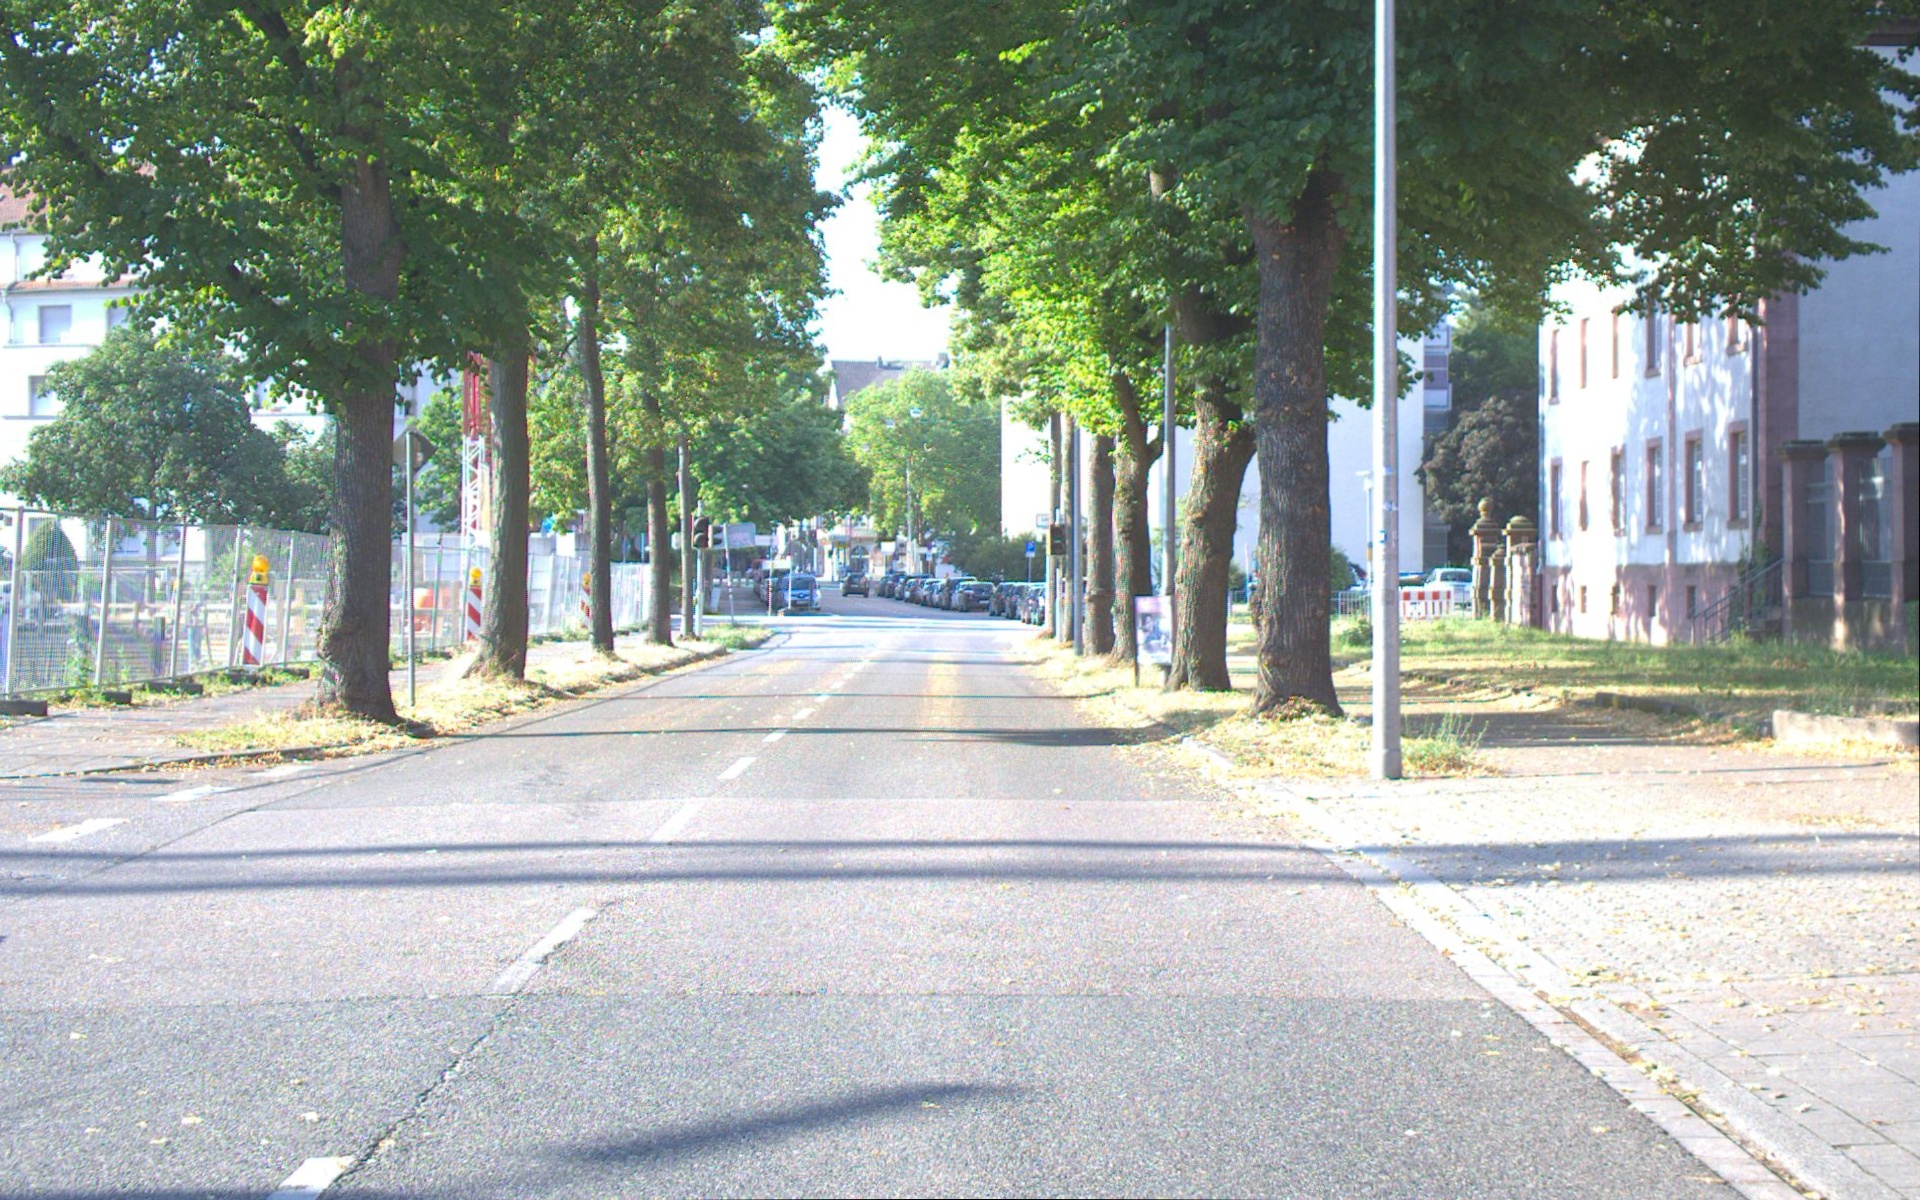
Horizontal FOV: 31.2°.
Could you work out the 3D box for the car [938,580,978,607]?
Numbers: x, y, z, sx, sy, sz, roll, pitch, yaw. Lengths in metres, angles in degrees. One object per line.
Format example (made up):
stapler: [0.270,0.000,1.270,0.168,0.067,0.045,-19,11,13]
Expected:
car: [-0.099,-0.337,178.024,1.841,1.381,4.000,0,0,-3]

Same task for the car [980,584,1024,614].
car: [1.806,-0.049,148.841,1.841,1.257,4.000,0,0,-1]

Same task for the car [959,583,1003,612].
car: [0.997,-0.136,167.048,1.841,1.381,4.001,0,1,-4]

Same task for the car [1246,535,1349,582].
car: [13.677,-1.674,139.337,3.987,1.722,1.773,2,0,1]

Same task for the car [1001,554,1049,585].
car: [2.663,-1.252,141.937,1.841,1.256,4.000,0,1,-1]

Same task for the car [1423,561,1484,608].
car: [18.155,-0.558,126.629,1.812,1.554,3.625,2,-1,2]

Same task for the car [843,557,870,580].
car: [-7.227,-2.186,239.830,1.714,1.481,4.000,-1,0,-4]

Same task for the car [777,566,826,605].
car: [-7.127,-0.649,154.169,1.993,1.682,4.001,0,0,-6]

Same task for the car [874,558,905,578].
car: [-4.914,-2.253,239.868,1.841,1.381,4.001,0,1,-6]

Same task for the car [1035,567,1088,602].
car: [3.721,-0.580,126.186,1.779,1.223,4.000,0,1,-1]

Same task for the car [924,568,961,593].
car: [-0.965,-1.063,190.037,1.841,1.381,4.000,0,0,-3]
